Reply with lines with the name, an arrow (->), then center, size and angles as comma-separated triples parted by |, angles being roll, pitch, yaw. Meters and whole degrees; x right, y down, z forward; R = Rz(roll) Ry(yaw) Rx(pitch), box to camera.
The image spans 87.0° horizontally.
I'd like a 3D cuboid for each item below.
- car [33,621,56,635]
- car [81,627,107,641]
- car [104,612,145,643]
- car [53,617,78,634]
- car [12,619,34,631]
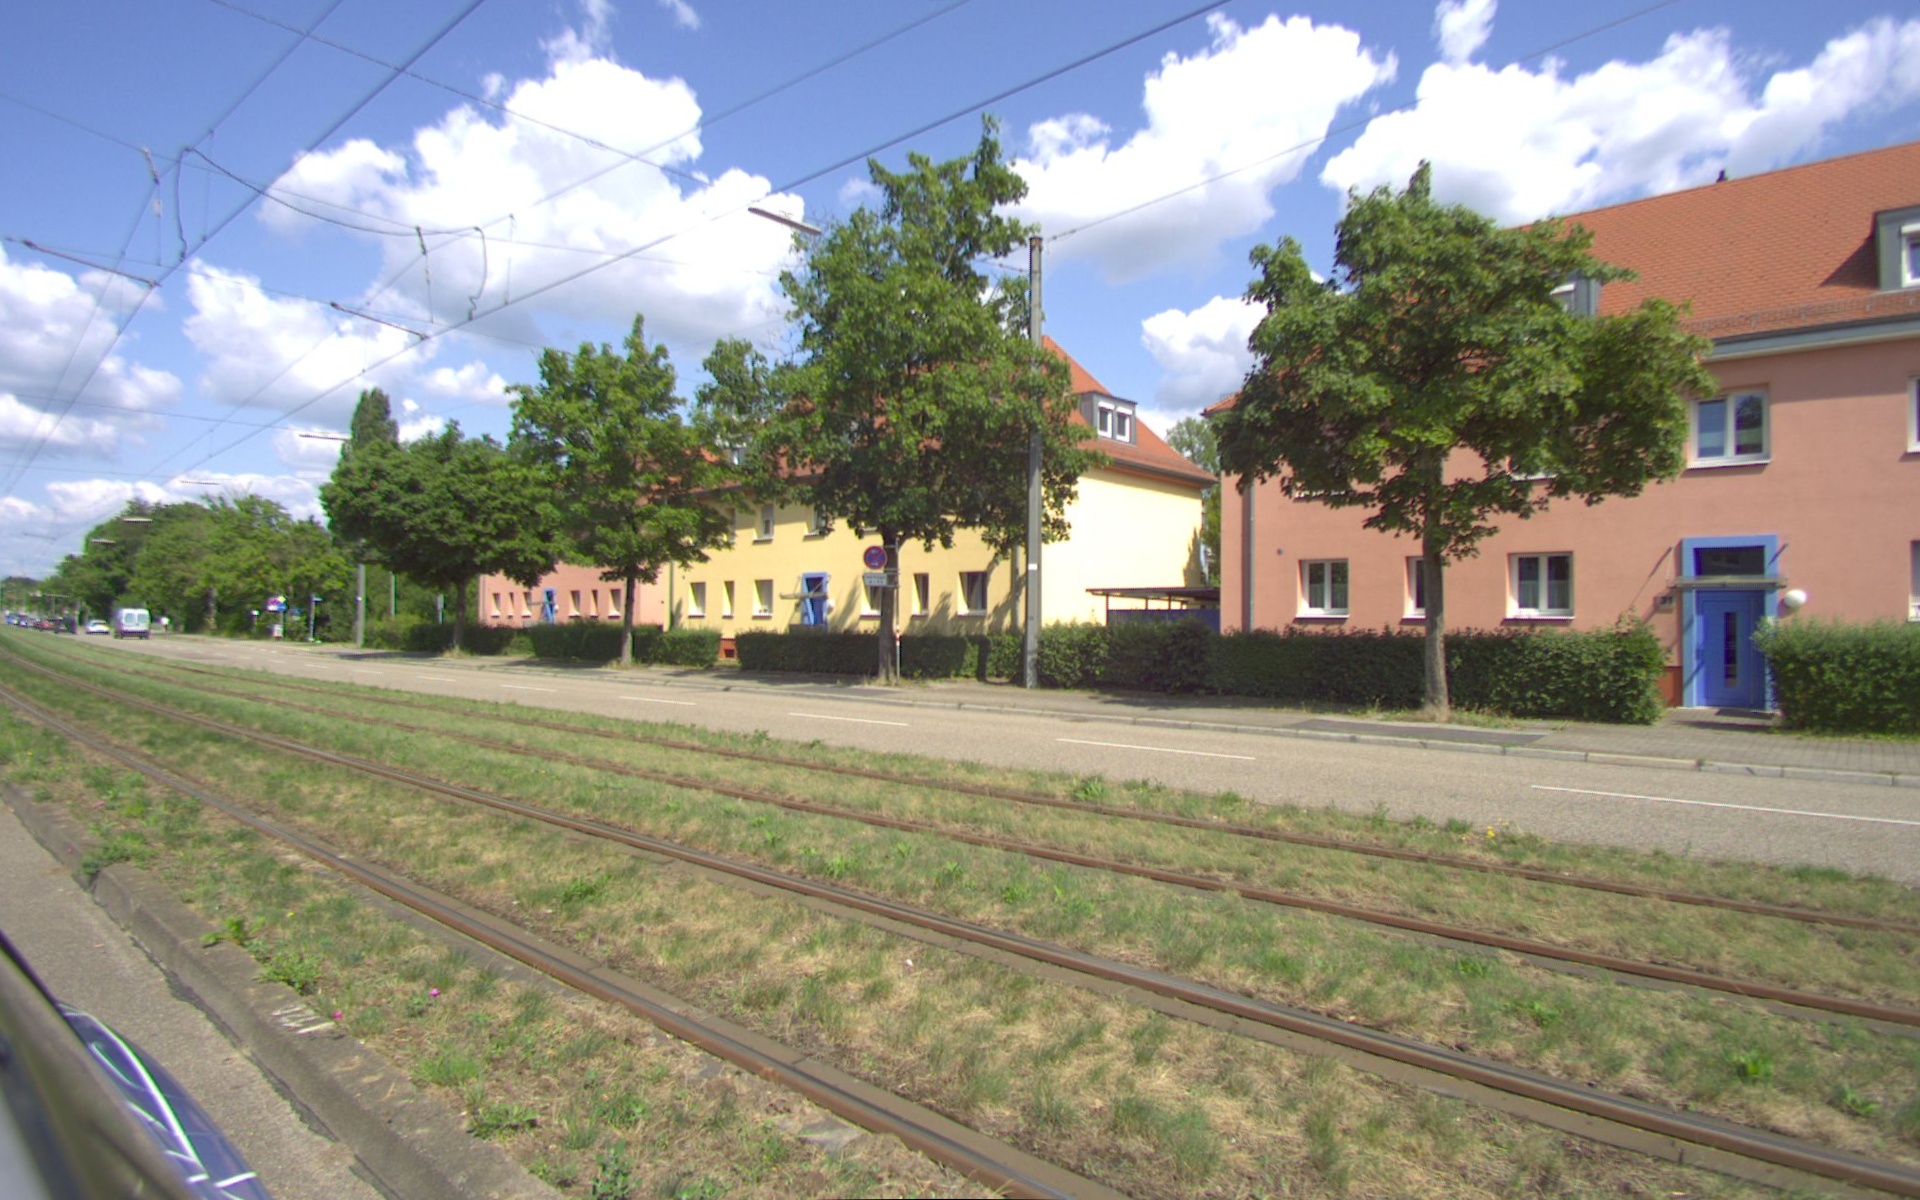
car -> -108.437, 3.351, 119.862 | 4.277, 1.591, 1.708 | -2, -3, 43
car -> -92.176, 3.650, 107.725 | 4.278, 1.442, 1.666 | -2, -3, 45
car -> -71.050, 2.364, 86.037 | 5.780, 2.455, 2.009 | -2, -5, 45
car -> -92.882, 2.668, 105.086 | 4.229, 1.760, 1.666 | -2, -3, 45
car -> -132.874, 3.566, 143.523 | 2.091, 1.664, 4.279 | 2, -3, -44
